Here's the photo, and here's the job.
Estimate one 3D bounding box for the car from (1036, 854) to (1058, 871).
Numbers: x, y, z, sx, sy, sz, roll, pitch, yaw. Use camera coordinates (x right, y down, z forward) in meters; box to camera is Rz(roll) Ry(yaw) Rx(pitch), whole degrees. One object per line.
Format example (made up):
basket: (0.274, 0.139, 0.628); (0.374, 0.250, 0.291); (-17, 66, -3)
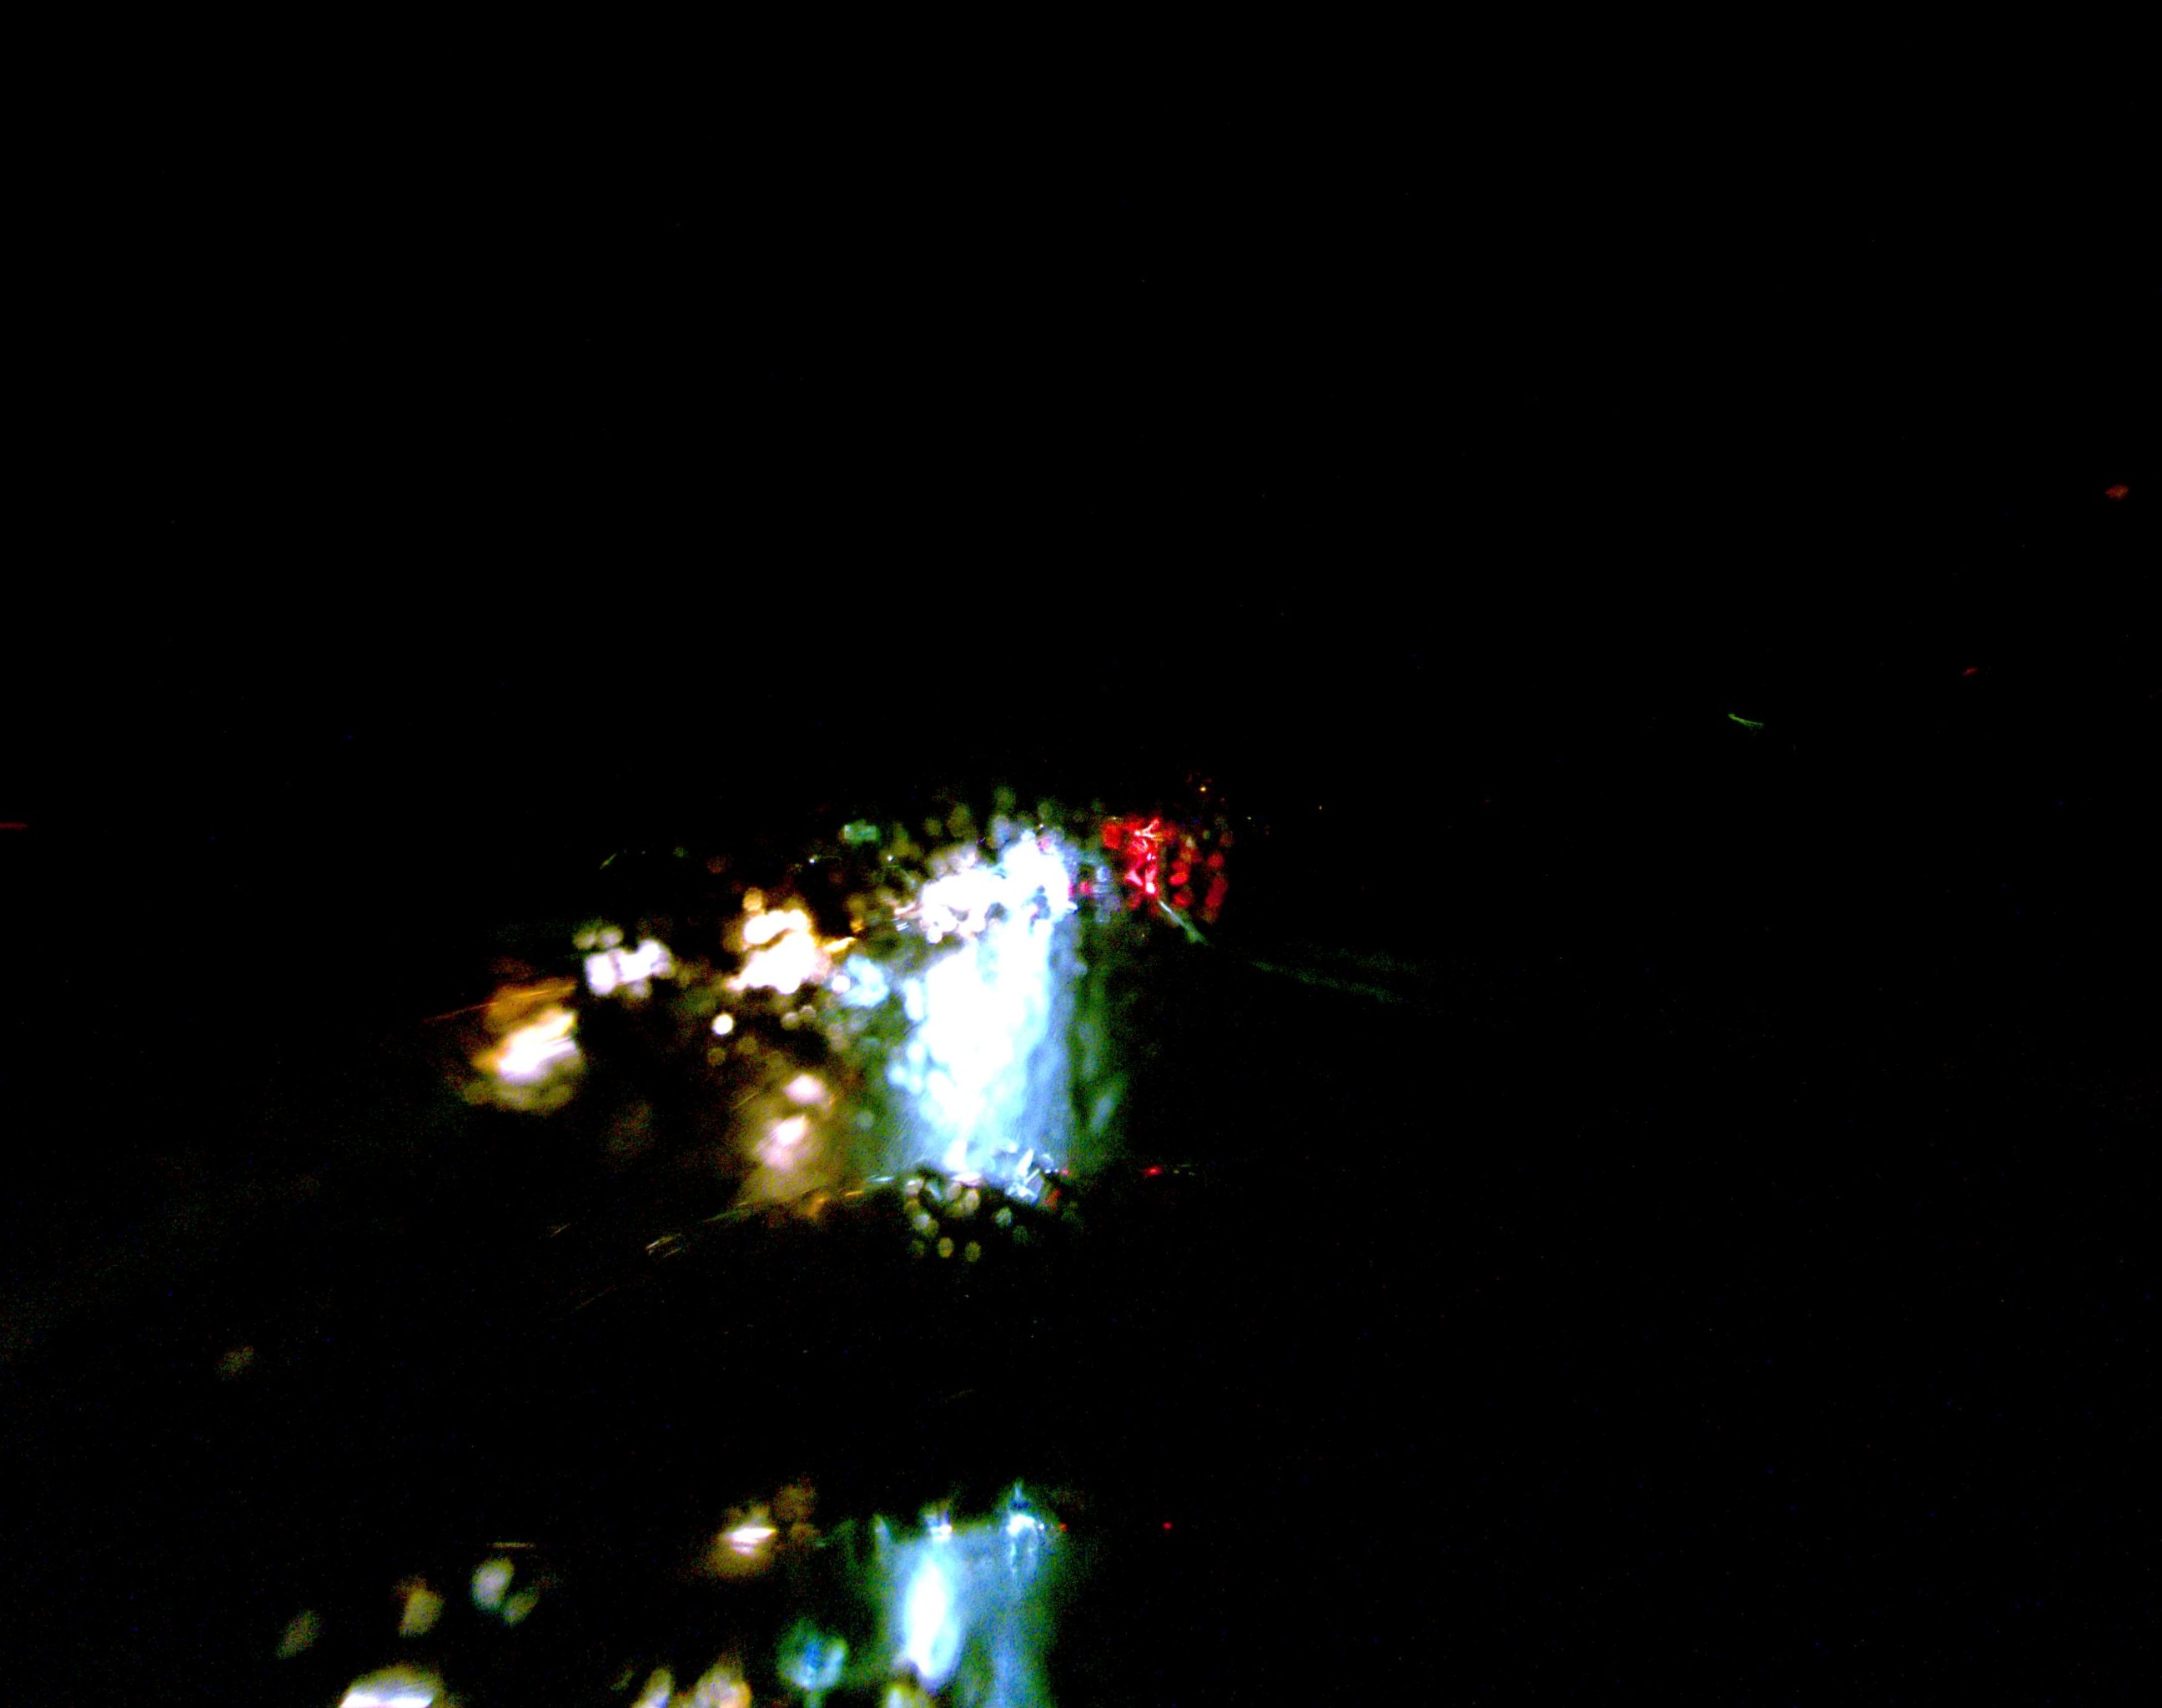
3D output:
car: (-3.207, 0.819, 77.836); (1.713, 1.588, 4.315); (-1, 0, 3)

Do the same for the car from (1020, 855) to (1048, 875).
car: (-3.678, 0.859, 64.204); (1.713, 1.508, 3.830); (-1, 0, 3)

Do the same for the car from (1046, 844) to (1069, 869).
car: (-2.636, 0.287, 94.494); (2.114, 2.707, 6.245); (-1, 0, 3)

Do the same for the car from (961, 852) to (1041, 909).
car: (-2.351, 0.739, 25.041); (1.837, 1.575, 4.599); (-1, 0, 2)

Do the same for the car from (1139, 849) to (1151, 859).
car: (10.618, 0.009, 135.370); (1.654, 1.450, 4.059); (-1, -1, 8)

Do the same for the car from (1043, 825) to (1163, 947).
car: (0.402, 0.514, 15.366); (1.935, 1.972, 4.219); (-1, 0, 1)

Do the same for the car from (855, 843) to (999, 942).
car: (-2.869, 0.657, 16.213); (1.837, 1.668, 4.447); (-1, 0, 2)

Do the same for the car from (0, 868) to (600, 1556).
car: (-3.238, 0.823, 2.278); (1.664, 1.473, 3.631); (-1, 0, -1)

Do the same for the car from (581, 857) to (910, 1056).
car: (-2.968, 0.792, 8.165); (1.616, 1.473, 3.885); (-1, 0, 1)

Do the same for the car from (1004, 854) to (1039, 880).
car: (-3.816, 0.804, 52.908); (1.798, 1.629, 4.417); (-1, 0, 1)
